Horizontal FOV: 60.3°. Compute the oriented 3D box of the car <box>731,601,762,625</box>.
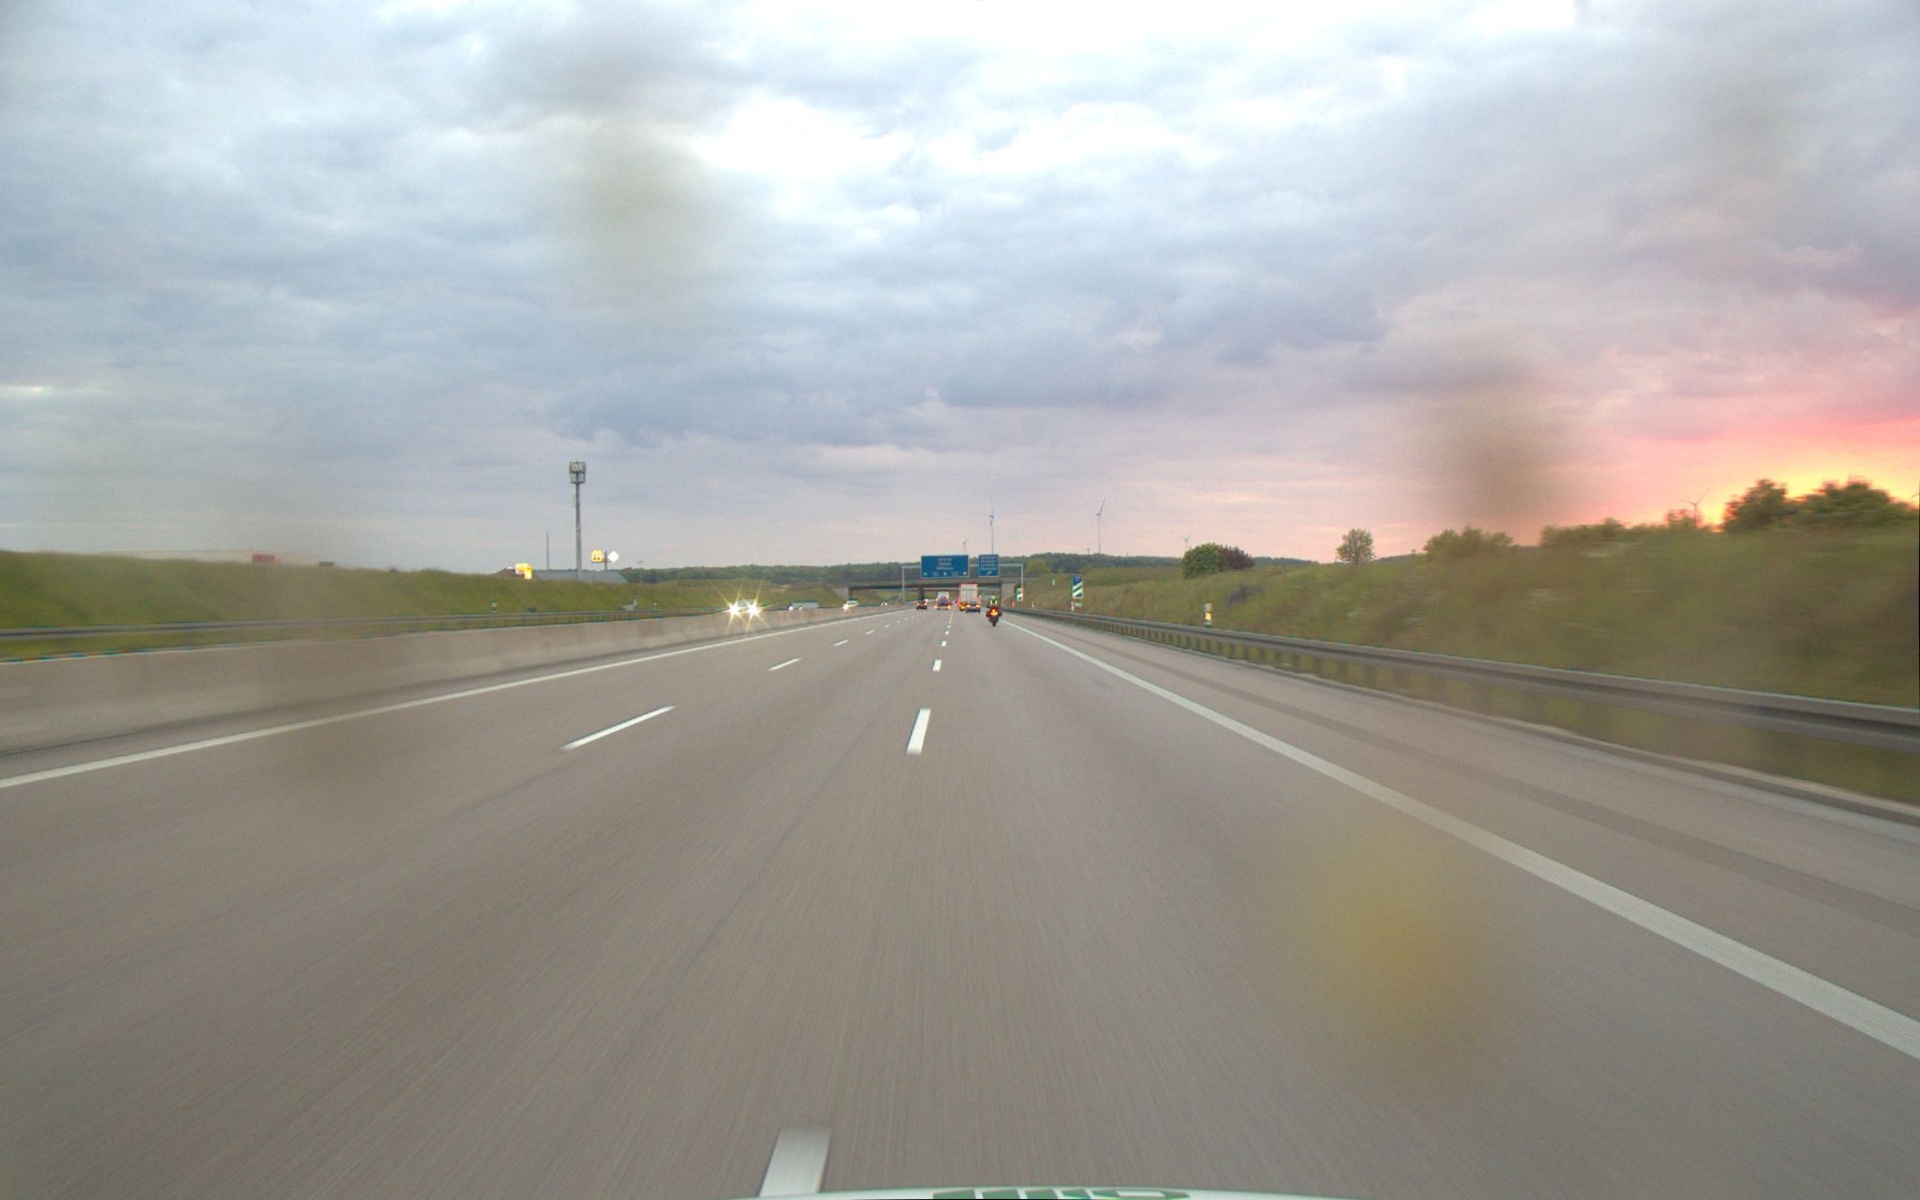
[{"bbox_3d":[-17.628,1.063,136.548,2.057,1.842,5.019,-1,0,-2],"label":"car"}]

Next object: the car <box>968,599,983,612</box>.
[{"bbox_3d":[1.935,0.639,208.103,1.879,1.607,3.999,-1,0,-1],"label":"car"}]

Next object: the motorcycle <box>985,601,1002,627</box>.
[{"bbox_3d":[1.893,0.774,93.153,0.883,1.370,2.349,0,1,0],"label":"motorcycle"}]

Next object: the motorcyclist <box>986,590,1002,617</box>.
[{"bbox_3d":[1.902,0.194,93.047,0.848,1.513,1.168,1,0,1],"label":"motorcyclist"}]

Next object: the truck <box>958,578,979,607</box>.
[{"bbox_3d":[1.302,-1.186,251.592,3.167,4.301,9.599,1,1,0],"label":"truck"}]

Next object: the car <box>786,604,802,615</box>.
[{"bbox_3d":[-21.503,1.244,213.858,1.703,1.417,4.342,-1,0,-1],"label":"car"}]
